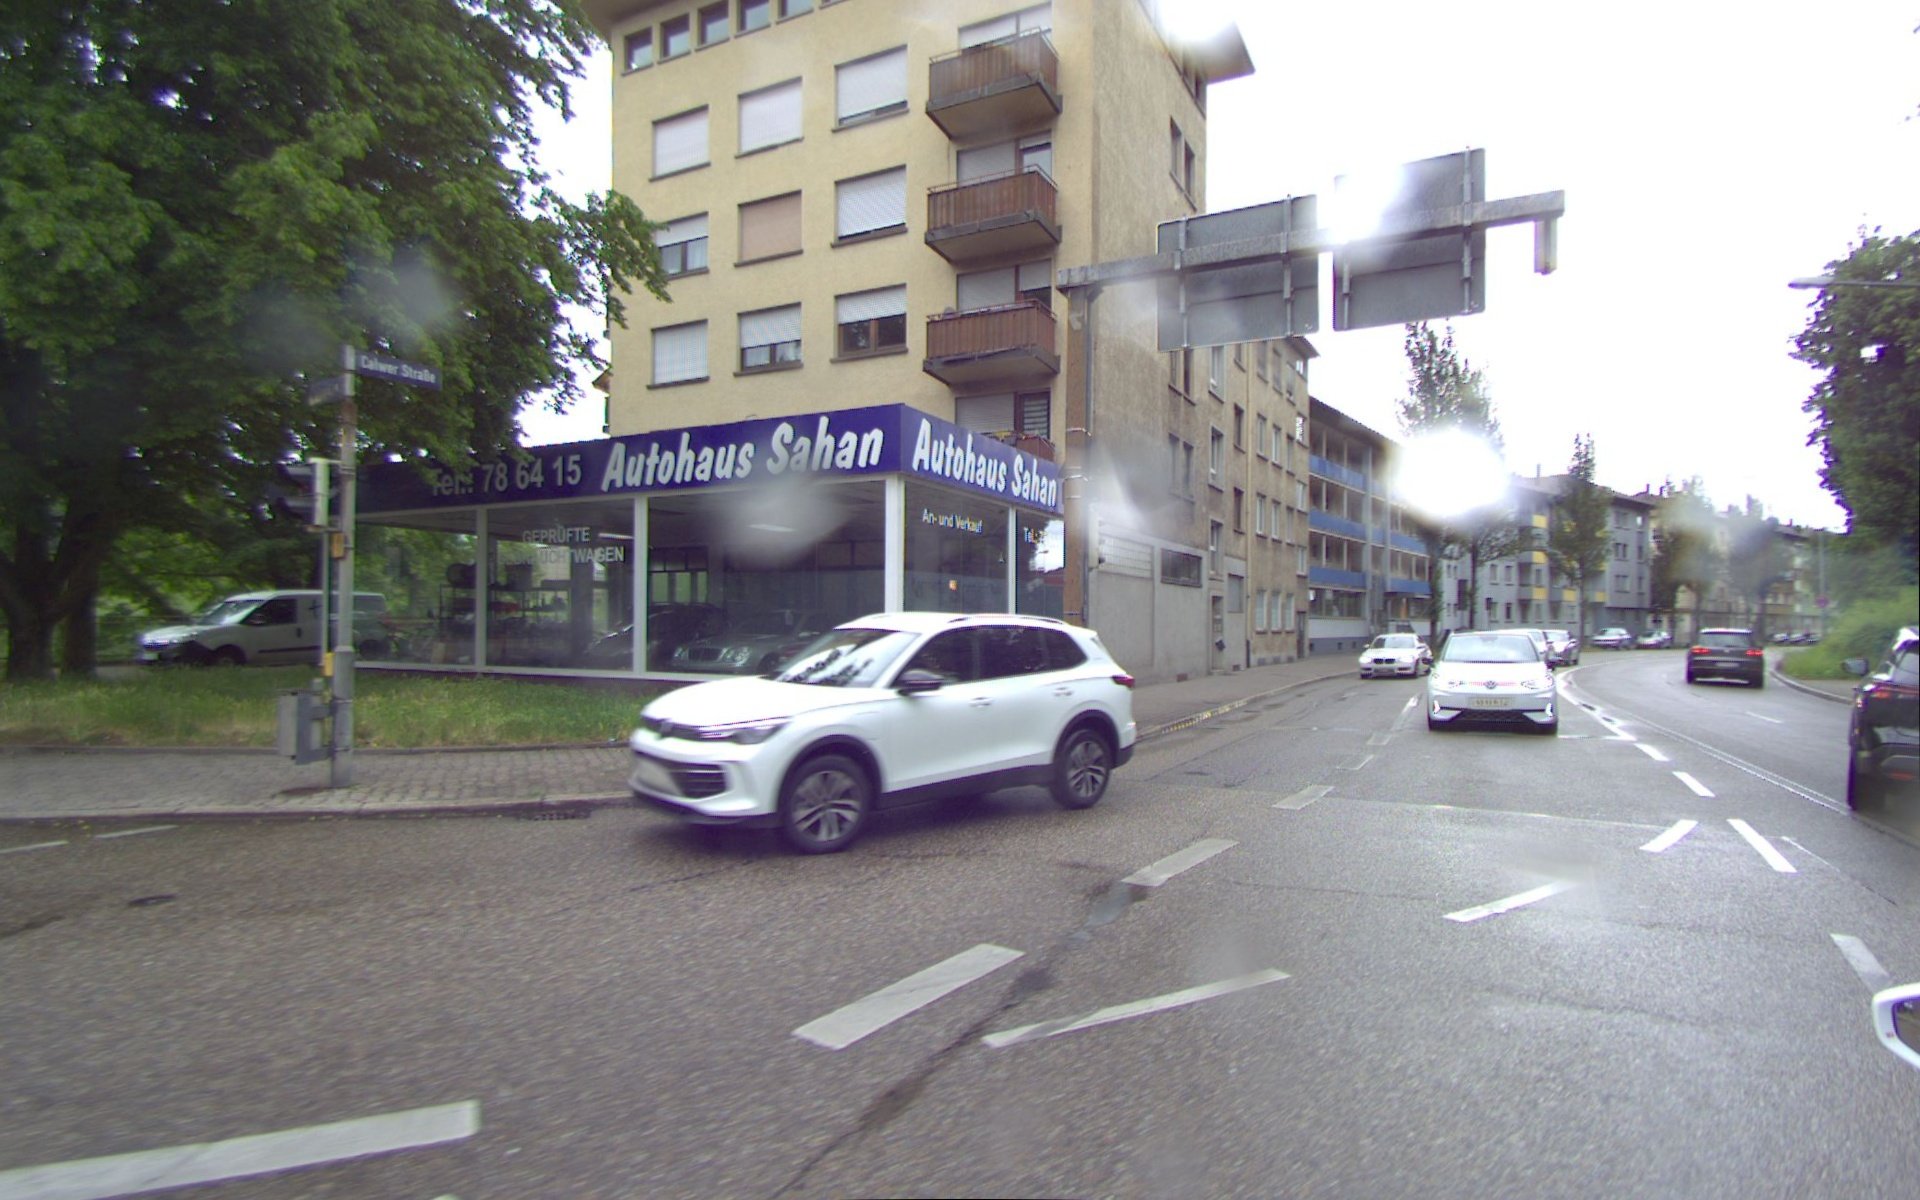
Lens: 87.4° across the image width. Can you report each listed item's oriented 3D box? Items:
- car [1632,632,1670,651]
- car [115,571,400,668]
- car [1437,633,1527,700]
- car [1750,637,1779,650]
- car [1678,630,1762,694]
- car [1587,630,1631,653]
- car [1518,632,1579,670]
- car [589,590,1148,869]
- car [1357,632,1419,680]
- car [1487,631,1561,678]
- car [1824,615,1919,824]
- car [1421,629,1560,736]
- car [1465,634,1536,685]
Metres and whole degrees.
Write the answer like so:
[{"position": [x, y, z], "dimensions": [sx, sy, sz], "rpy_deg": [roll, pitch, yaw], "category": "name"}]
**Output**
[{"position": [55.799, 3.343, 81.065], "dimensions": [4.175, 1.472, 1.708], "rpy_deg": [2, -2, -43], "category": "car"}, {"position": [-14.974, 0.422, 21.773], "dimensions": [1.944, 1.854, 4.742], "rpy_deg": [1, -1, 23], "category": "car"}, {"position": [12.652, 1.514, 24.236], "dimensions": [1.764, 1.425, 4.617], "rpy_deg": [0, -2, 29], "category": "car"}, {"position": [85.259, 4.586, 106.435], "dimensions": [3.954, 1.405, 1.613], "rpy_deg": [2, -2, -39], "category": "car"}, {"position": [22.833, 1.796, 30.296], "dimensions": [1.862, 1.734, 3.987], "rpy_deg": [1, -1, 36], "category": "car"}, {"position": [47.727, 3.054, 73.807], "dimensions": [4.502, 1.625, 1.747], "rpy_deg": [2, -2, -44], "category": "car"}, {"position": [24.540, 2.071, 41.817], "dimensions": [1.730, 1.444, 4.520], "rpy_deg": [0, -1, 37], "category": "car"}, {"position": [-0.509, 0.838, 8.301], "dimensions": [4.443, 1.693, 1.820], "rpy_deg": [2, -1, -44], "category": "car"}, {"position": [14.251, 1.812, 33.369], "dimensions": [1.632, 1.475, 3.995], "rpy_deg": [-1, -2, 27], "category": "car"}, {"position": [20.230, 1.894, 35.916], "dimensions": [1.796, 1.536, 5.012], "rpy_deg": [-1, -2, 35], "category": "car"}, {"position": [9.054, 0.984, 9.025], "dimensions": [1.823, 1.603, 3.982], "rpy_deg": [2, 0, 40], "category": "car"}, {"position": [8.663, 1.235, 16.516], "dimensions": [1.758, 1.515, 4.211], "rpy_deg": [-1, -2, 27], "category": "car"}, {"position": [16.742, 1.776, 31.026], "dimensions": [1.656, 1.466, 3.811], "rpy_deg": [-1, -2, 32], "category": "car"}]
